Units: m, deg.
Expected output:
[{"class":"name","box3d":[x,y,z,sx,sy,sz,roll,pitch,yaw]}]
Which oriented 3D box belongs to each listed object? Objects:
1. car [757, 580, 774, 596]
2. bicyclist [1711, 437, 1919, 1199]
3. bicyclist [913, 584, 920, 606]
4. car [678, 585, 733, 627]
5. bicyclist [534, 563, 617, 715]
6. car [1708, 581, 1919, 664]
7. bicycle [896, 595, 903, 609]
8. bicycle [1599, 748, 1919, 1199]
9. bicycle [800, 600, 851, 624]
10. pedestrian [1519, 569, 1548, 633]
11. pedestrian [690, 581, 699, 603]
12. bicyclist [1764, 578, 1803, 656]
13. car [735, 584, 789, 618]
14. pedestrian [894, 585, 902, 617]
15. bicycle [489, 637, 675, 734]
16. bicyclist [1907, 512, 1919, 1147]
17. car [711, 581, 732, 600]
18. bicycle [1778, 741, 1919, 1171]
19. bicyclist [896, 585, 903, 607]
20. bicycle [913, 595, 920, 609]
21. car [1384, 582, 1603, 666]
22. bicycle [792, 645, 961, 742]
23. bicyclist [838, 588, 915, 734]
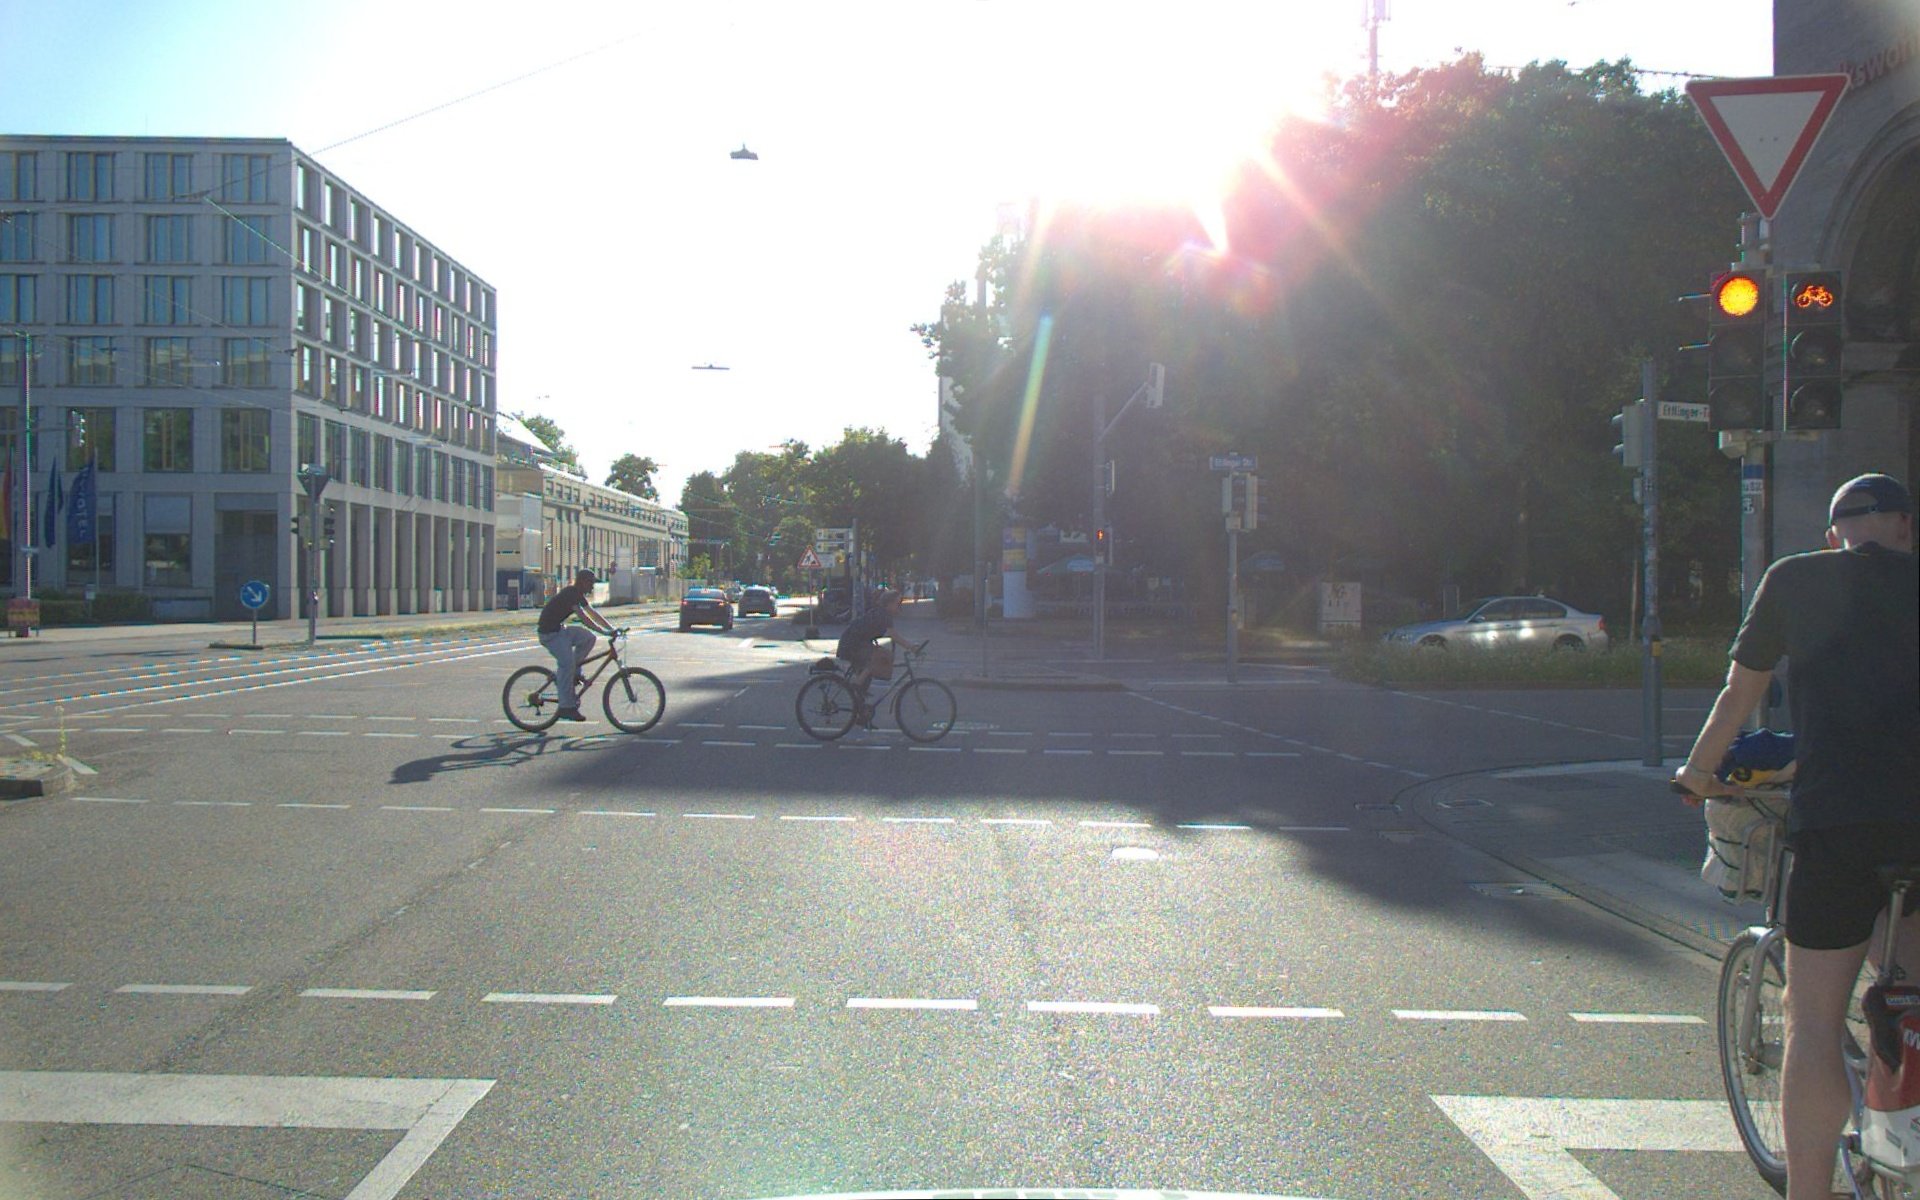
[{"class":"car","box3d":[-22.834,-1.426,194.360,1.659,1.748,4.244,1,0,-4]},{"class":"bicyclist","box3d":[2.099,0.577,3.731,0.547,1.830,0.550,1,0,1]},{"class":"bicyclist","box3d":[-3.404,-0.418,129.977,0.558,1.721,0.699,0,0,-1]},{"class":"car","box3d":[-9.293,0.209,60.566,1.627,1.481,4.428,1,0,-4]},{"class":"bicyclist","box3d":[-3.987,0.396,17.184,0.748,1.550,0.606,0,0,-5]},{"class":"car","box3d":[17.494,0.440,33.685,3.770,1.639,1.650,0,0,-1]},{"class":"bicycle","box3d":[-4.749,0.123,129.685,0.563,1.096,1.830,0,0,-1]},{"class":"bicycle","box3d":[2.080,0.979,3.890,0.505,1.096,1.728,1,0,1]},{"class":"bicycle","box3d":[-5.483,0.508,67.383,1.976,0.907,0.650,-2,-1,27]},{"class":"pedestrian","box3d":[15.344,0.013,44.273,0.571,1.692,0.514,1,1,1]},{"class":"pedestrian","box3d":[-25.273,-0.730,157.373,0.660,2.049,0.751,1,-1,-3]},{"class":"bicyclist","box3d":[18.300,0.374,36.775,0.630,1.712,0.507,0,0,5]},{"class":"car","box3d":[-10.047,0.027,84.419,1.853,1.592,4.810,3,1,3]},{"class":"pedestrian","box3d":[-3.642,0.064,97.741,0.454,1.845,0.502,0,0,-5]},{"class":"bicycle","box3d":[-3.902,0.876,17.174,1.821,0.951,0.559,0,0,-6]},{"class":"bicyclist","box3d":[2.892,0.626,4.230,0.546,1.721,0.640,1,0,-2]},{"class":"car","box3d":[-22.473,-0.890,156.111,1.659,1.748,4.244,1,0,-4]},{"class":"bicycle","box3d":[2.868,0.998,4.338,0.523,1.096,1.750,1,0,-2]},{"class":"bicyclist","box3d":[-4.764,-0.302,129.786,0.558,1.721,0.699,0,0,-1]},{"class":"bicycle","box3d":[-3.393,0.145,129.962,0.563,1.096,1.830,0,0,-1]},{"class":"car","box3d":[10.778,0.475,33.562,3.912,1.639,1.650,0,0,-1]},{"class":"bicycle","box3d":[-0.871,0.955,17.108,1.709,0.951,0.645,0,0,-5]},{"class":"bicyclist","box3d":[-0.869,0.619,17.099,0.782,1.476,0.617,0,0,-4]}]
